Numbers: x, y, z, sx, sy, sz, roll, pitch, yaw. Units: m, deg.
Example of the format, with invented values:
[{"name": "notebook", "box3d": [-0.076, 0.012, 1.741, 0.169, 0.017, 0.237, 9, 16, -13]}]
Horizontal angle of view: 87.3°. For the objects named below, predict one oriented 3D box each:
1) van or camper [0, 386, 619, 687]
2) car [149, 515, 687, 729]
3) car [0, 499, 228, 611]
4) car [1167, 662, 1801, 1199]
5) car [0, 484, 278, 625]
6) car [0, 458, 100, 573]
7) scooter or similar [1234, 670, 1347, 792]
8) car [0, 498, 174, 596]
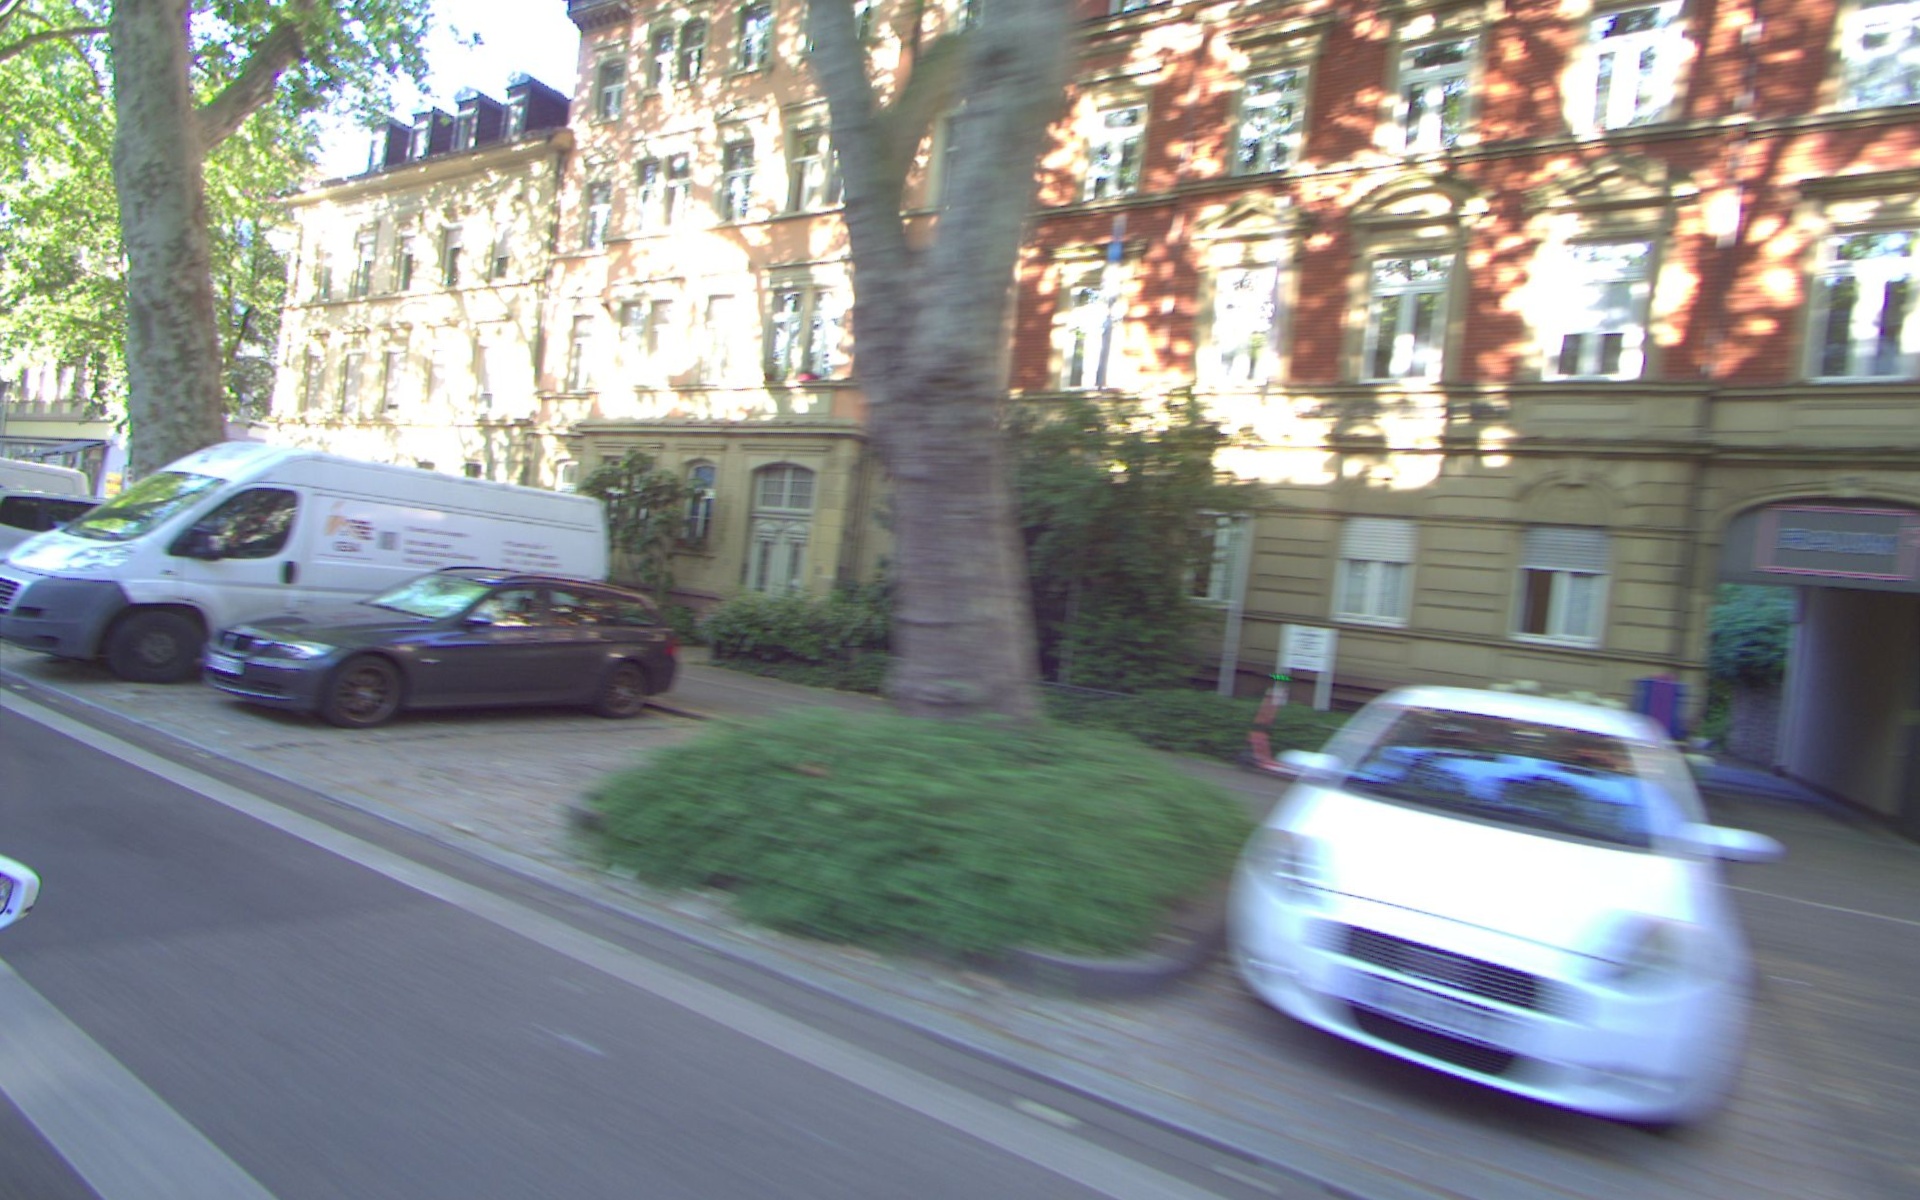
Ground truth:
[{"name": "van or camper", "box3d": [-7.136, -0.403, 11.506, 2.072, 2.521, 6.041, 7, -1, 31]}, {"name": "car", "box3d": [-5.083, 0.319, 10.149, 1.753, 1.570, 4.396, 7, -1, 31]}, {"name": "car", "box3d": [-14.860, -0.788, 16.680, 1.766, 1.496, 3.960, 7, -1, 31]}, {"name": "car", "box3d": [2.537, 1.179, 4.939, 1.660, 1.498, 3.959, 7, 0, 30]}, {"name": "car", "box3d": [-12.715, -0.654, 14.809, 1.765, 1.675, 3.962, 6, -1, 29]}, {"name": "car", "box3d": [-22.374, -2.125, 21.223, 1.973, 2.310, 5.997, 8, 0, 33]}, {"name": "scooter or similar", "box3d": [3.850, 1.512, 11.767, 1.107, 1.239, 0.274, 7, 0, 41]}, {"name": "car", "box3d": [-16.958, -1.057, 18.058, 1.766, 1.477, 4.061, 7, -1, 30]}]
